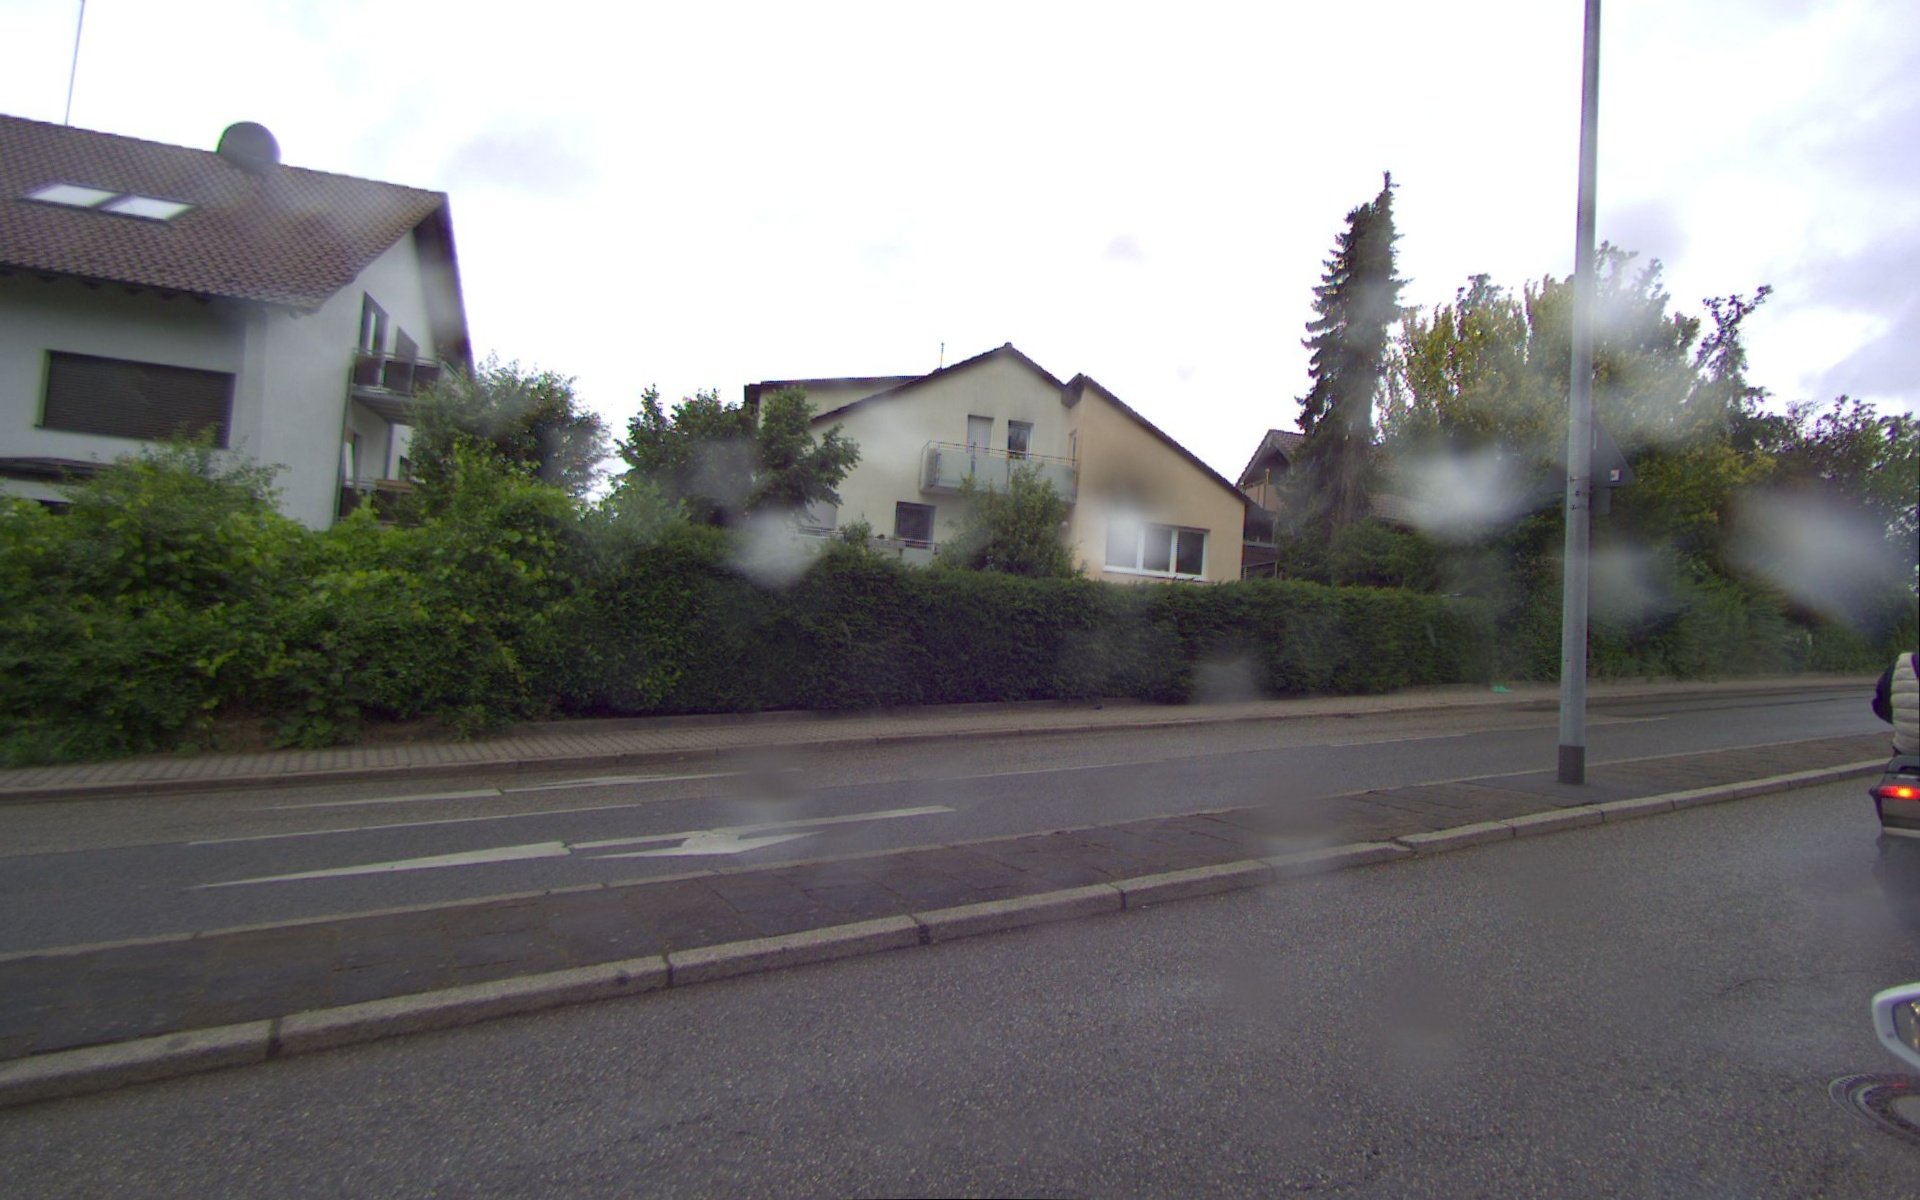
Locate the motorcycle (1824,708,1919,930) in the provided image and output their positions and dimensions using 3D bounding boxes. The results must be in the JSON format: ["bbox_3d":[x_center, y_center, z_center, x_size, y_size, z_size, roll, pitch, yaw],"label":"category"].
[{"bbox_3d":[5.480,1.141,5.448,1.727,1.066,0.687,3,-3,-31],"label":"motorcycle"}]

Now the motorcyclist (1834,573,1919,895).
[{"bbox_3d":[5.270,0.703,5.338,0.666,1.664,0.761,2,-3,-30],"label":"motorcyclist"}]
